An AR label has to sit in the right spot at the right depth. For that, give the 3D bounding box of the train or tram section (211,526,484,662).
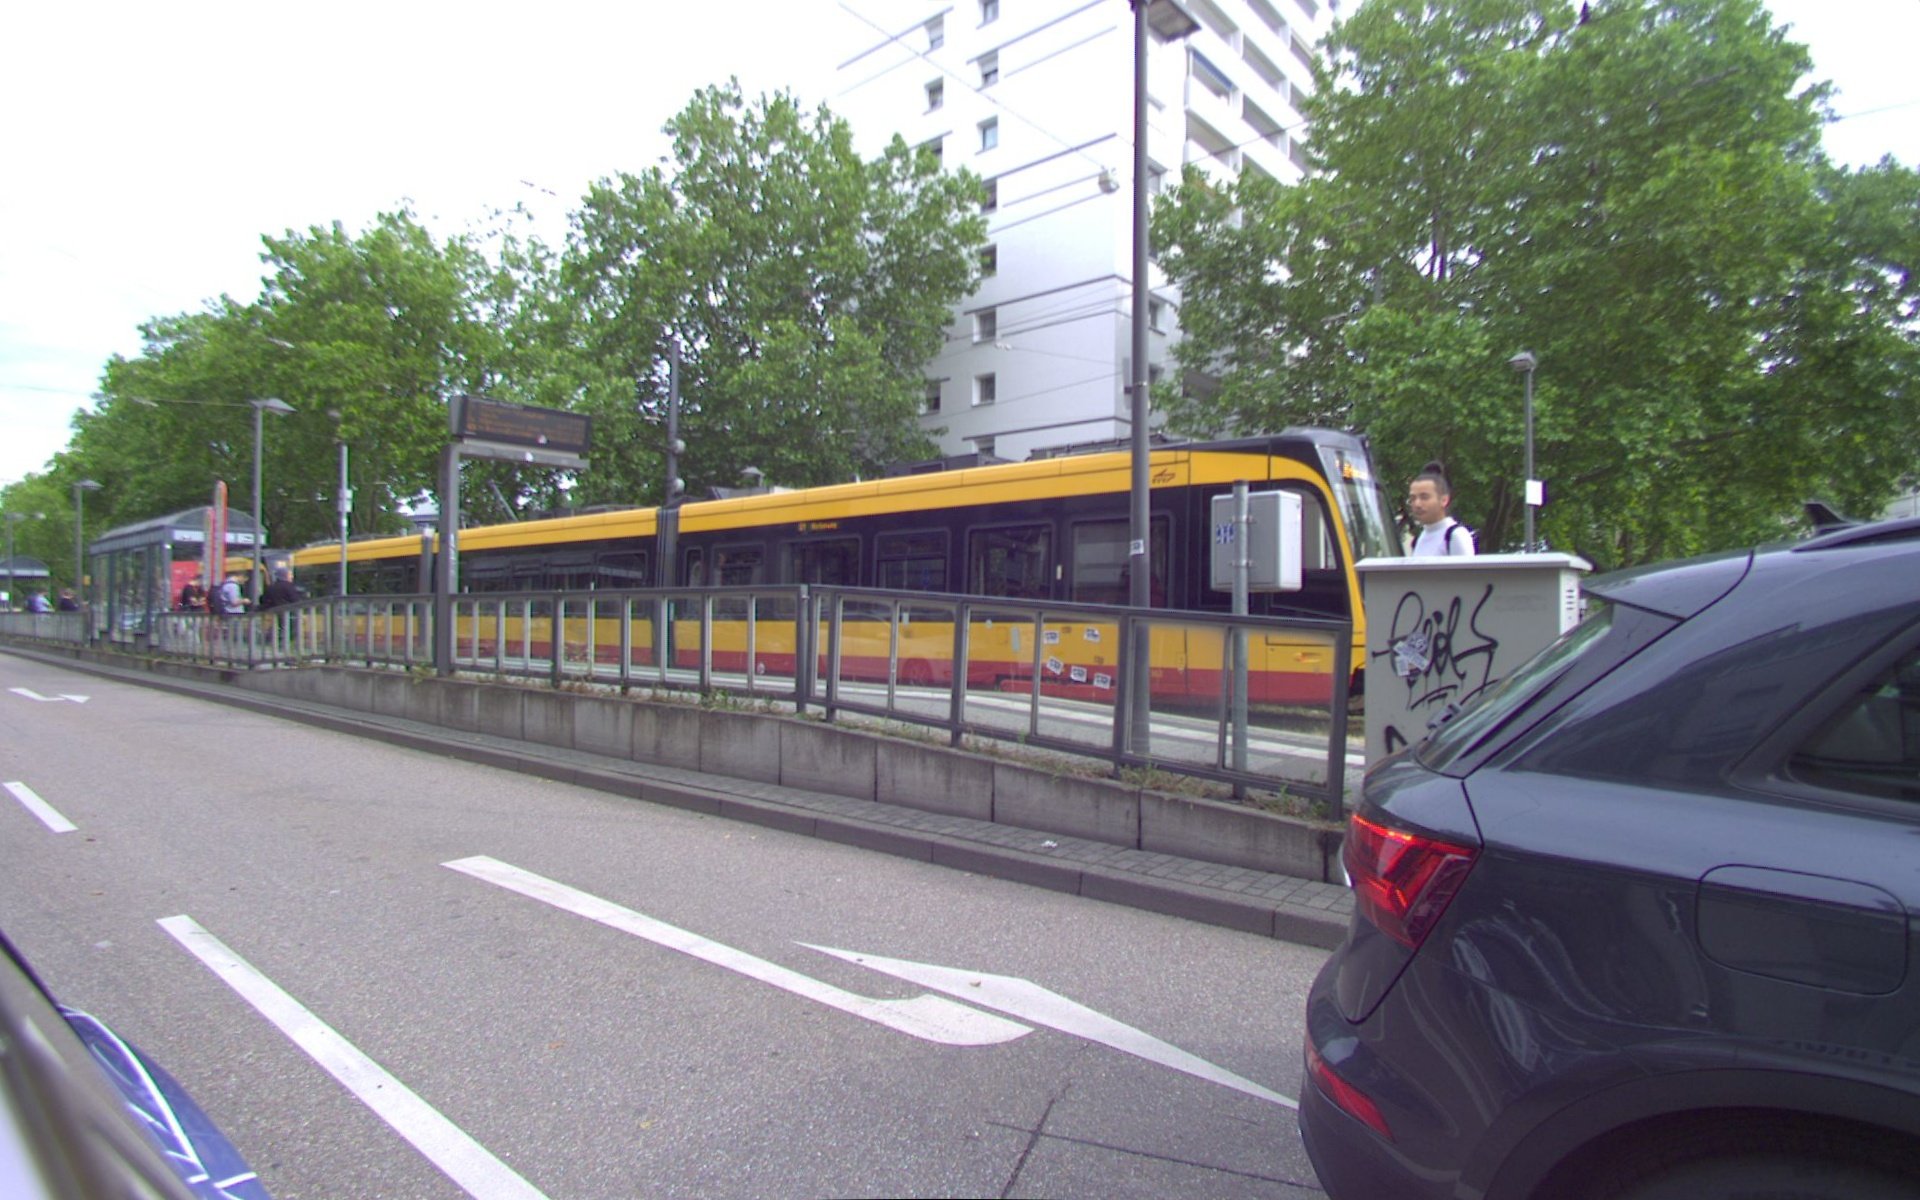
[{"bbox_3d":[-21.657,-0.103,34.874,16.241,3.781,3.295,-1,0,41],"label":"train or tram section"}]

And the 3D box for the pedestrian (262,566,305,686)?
[{"bbox_3d":[-10.531,0.391,15.746,0.513,1.818,0.606,-1,0,-37],"label":"pedestrian"}]

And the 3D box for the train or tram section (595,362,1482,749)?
[{"bbox_3d":[-0.404,-0.378,16.170,15.196,3.781,3.295,-1,0,41],"label":"train or tram section"}]

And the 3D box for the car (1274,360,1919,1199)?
[{"bbox_3d":[2.687,0.521,0.977,4.225,1.649,1.715,-1,0,41],"label":"car"}]

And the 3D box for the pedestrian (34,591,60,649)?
[{"bbox_3d":[-29.040,0.627,32.189,0.523,1.818,0.607,-1,0,-35],"label":"pedestrian"}]

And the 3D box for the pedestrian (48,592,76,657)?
[{"bbox_3d":[-25.571,0.696,28.827,0.523,1.818,0.607,-1,0,-35],"label":"pedestrian"}]

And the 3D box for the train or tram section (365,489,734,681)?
[{"bbox_3d":[-10.812,-0.243,25.350,12.543,3.781,3.295,-1,0,41],"label":"train or tram section"}]

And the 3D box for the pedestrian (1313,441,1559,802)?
[{"bbox_3d":[2.378,0.107,5.175,0.969,1.683,0.718,-1,0,12],"label":"pedestrian"}]

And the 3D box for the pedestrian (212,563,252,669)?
[{"bbox_3d":[-12.753,0.269,17.721,0.605,1.818,0.469,-1,0,45],"label":"pedestrian"}]

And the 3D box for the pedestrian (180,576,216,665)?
[{"bbox_3d":[-15.927,0.421,21.167,0.467,1.818,0.607,-1,0,-24],"label":"pedestrian"}]

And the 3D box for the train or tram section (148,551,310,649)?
[{"bbox_3d":[-31.885,0.030,43.880,11.039,3.781,3.295,-1,0,41],"label":"train or tram section"}]

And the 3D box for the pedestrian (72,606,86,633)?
[{"bbox_3d":[-68.804,1.524,79.074,0.756,2.029,0.710,-1,-1,41],"label":"pedestrian"}]
